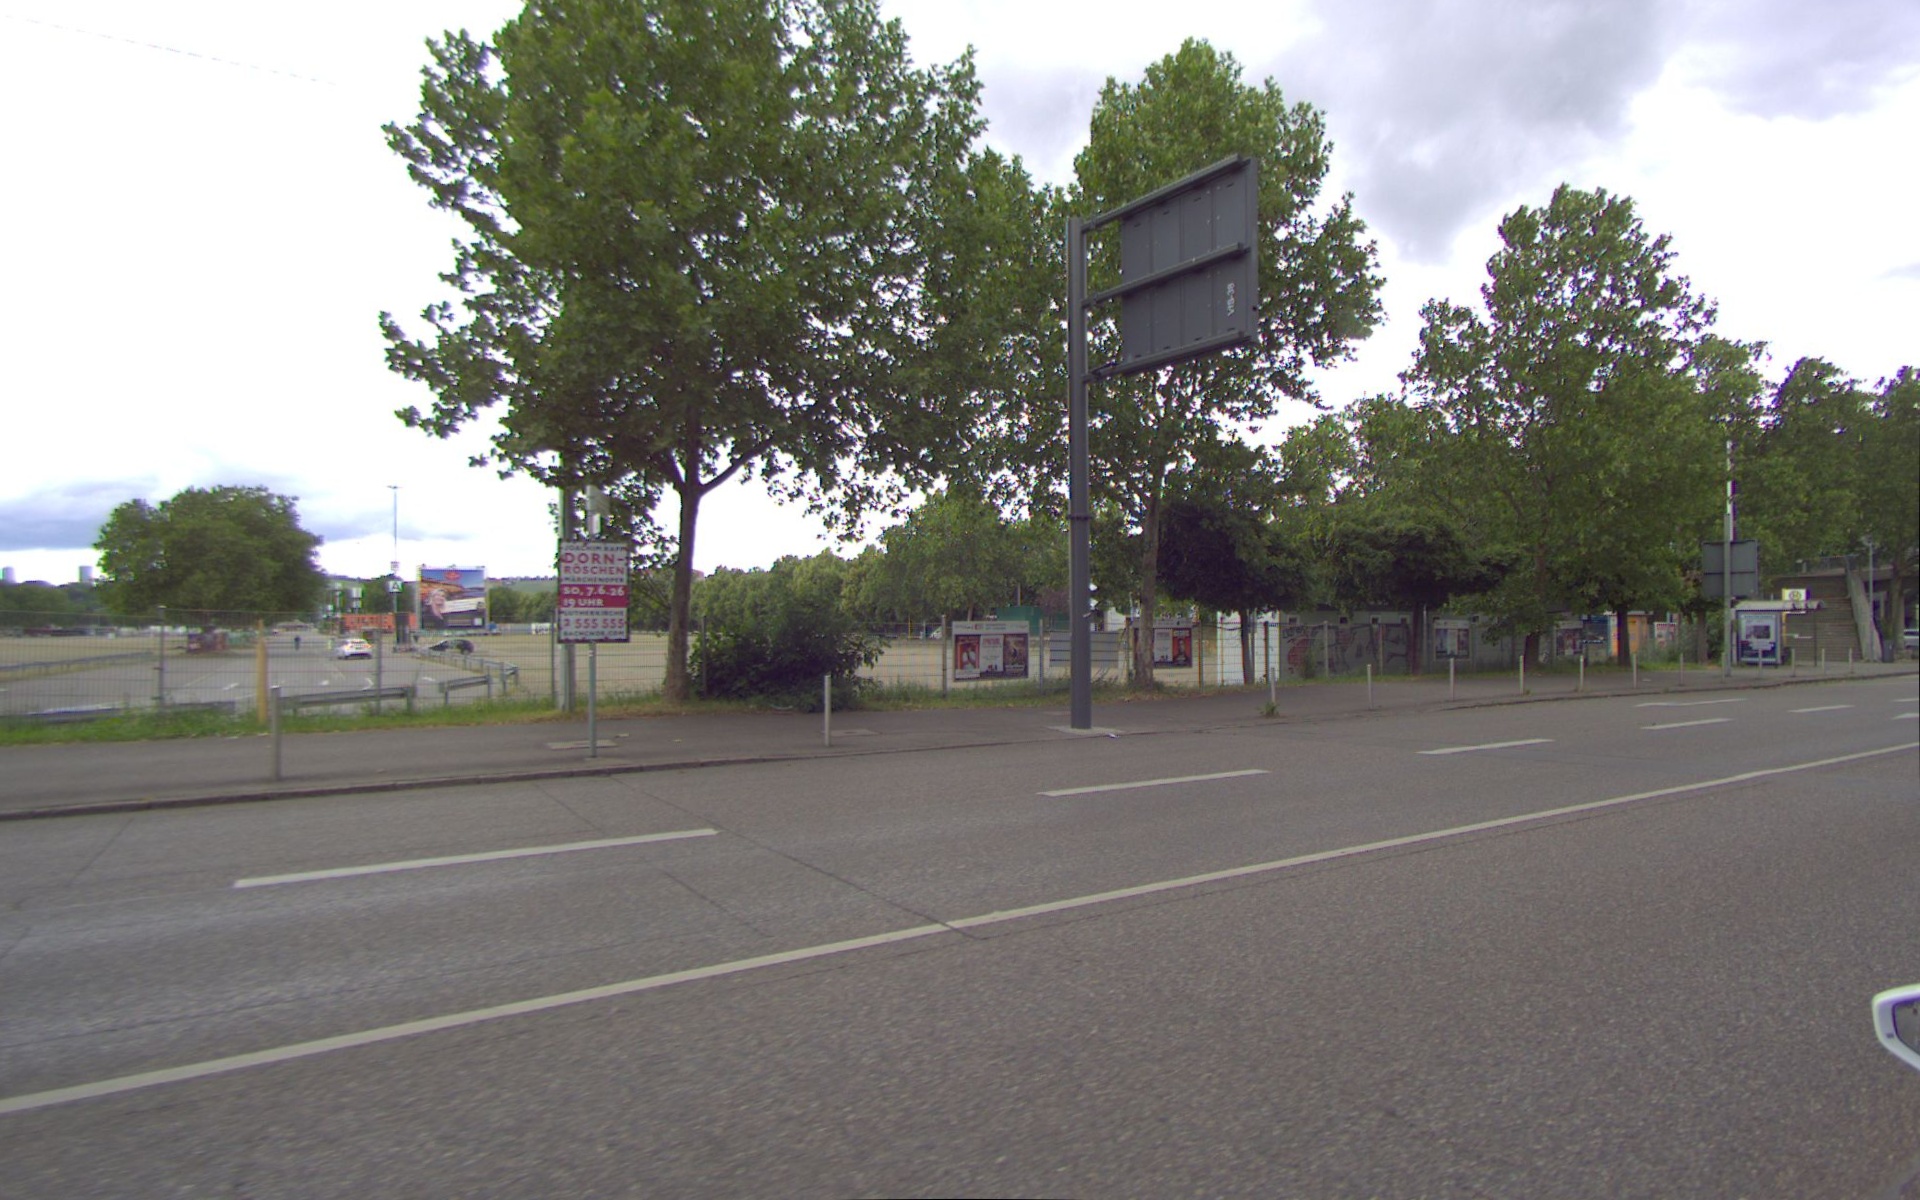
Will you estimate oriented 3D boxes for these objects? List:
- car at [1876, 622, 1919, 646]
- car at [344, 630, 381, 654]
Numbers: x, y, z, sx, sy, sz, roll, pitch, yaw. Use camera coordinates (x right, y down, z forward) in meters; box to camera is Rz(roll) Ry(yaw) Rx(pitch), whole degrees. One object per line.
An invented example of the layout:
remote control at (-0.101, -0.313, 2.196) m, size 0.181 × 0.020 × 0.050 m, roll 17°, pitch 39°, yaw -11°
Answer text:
car at (71.816, 2.537, 75.084) m, size 1.966 × 1.768 × 4.583 m, roll 1°, pitch -1°, yaw -14°
car at (-48.480, 3.409, 81.407) m, size 1.984 × 1.726 × 3.941 m, roll 1°, pitch 0°, yaw -40°
